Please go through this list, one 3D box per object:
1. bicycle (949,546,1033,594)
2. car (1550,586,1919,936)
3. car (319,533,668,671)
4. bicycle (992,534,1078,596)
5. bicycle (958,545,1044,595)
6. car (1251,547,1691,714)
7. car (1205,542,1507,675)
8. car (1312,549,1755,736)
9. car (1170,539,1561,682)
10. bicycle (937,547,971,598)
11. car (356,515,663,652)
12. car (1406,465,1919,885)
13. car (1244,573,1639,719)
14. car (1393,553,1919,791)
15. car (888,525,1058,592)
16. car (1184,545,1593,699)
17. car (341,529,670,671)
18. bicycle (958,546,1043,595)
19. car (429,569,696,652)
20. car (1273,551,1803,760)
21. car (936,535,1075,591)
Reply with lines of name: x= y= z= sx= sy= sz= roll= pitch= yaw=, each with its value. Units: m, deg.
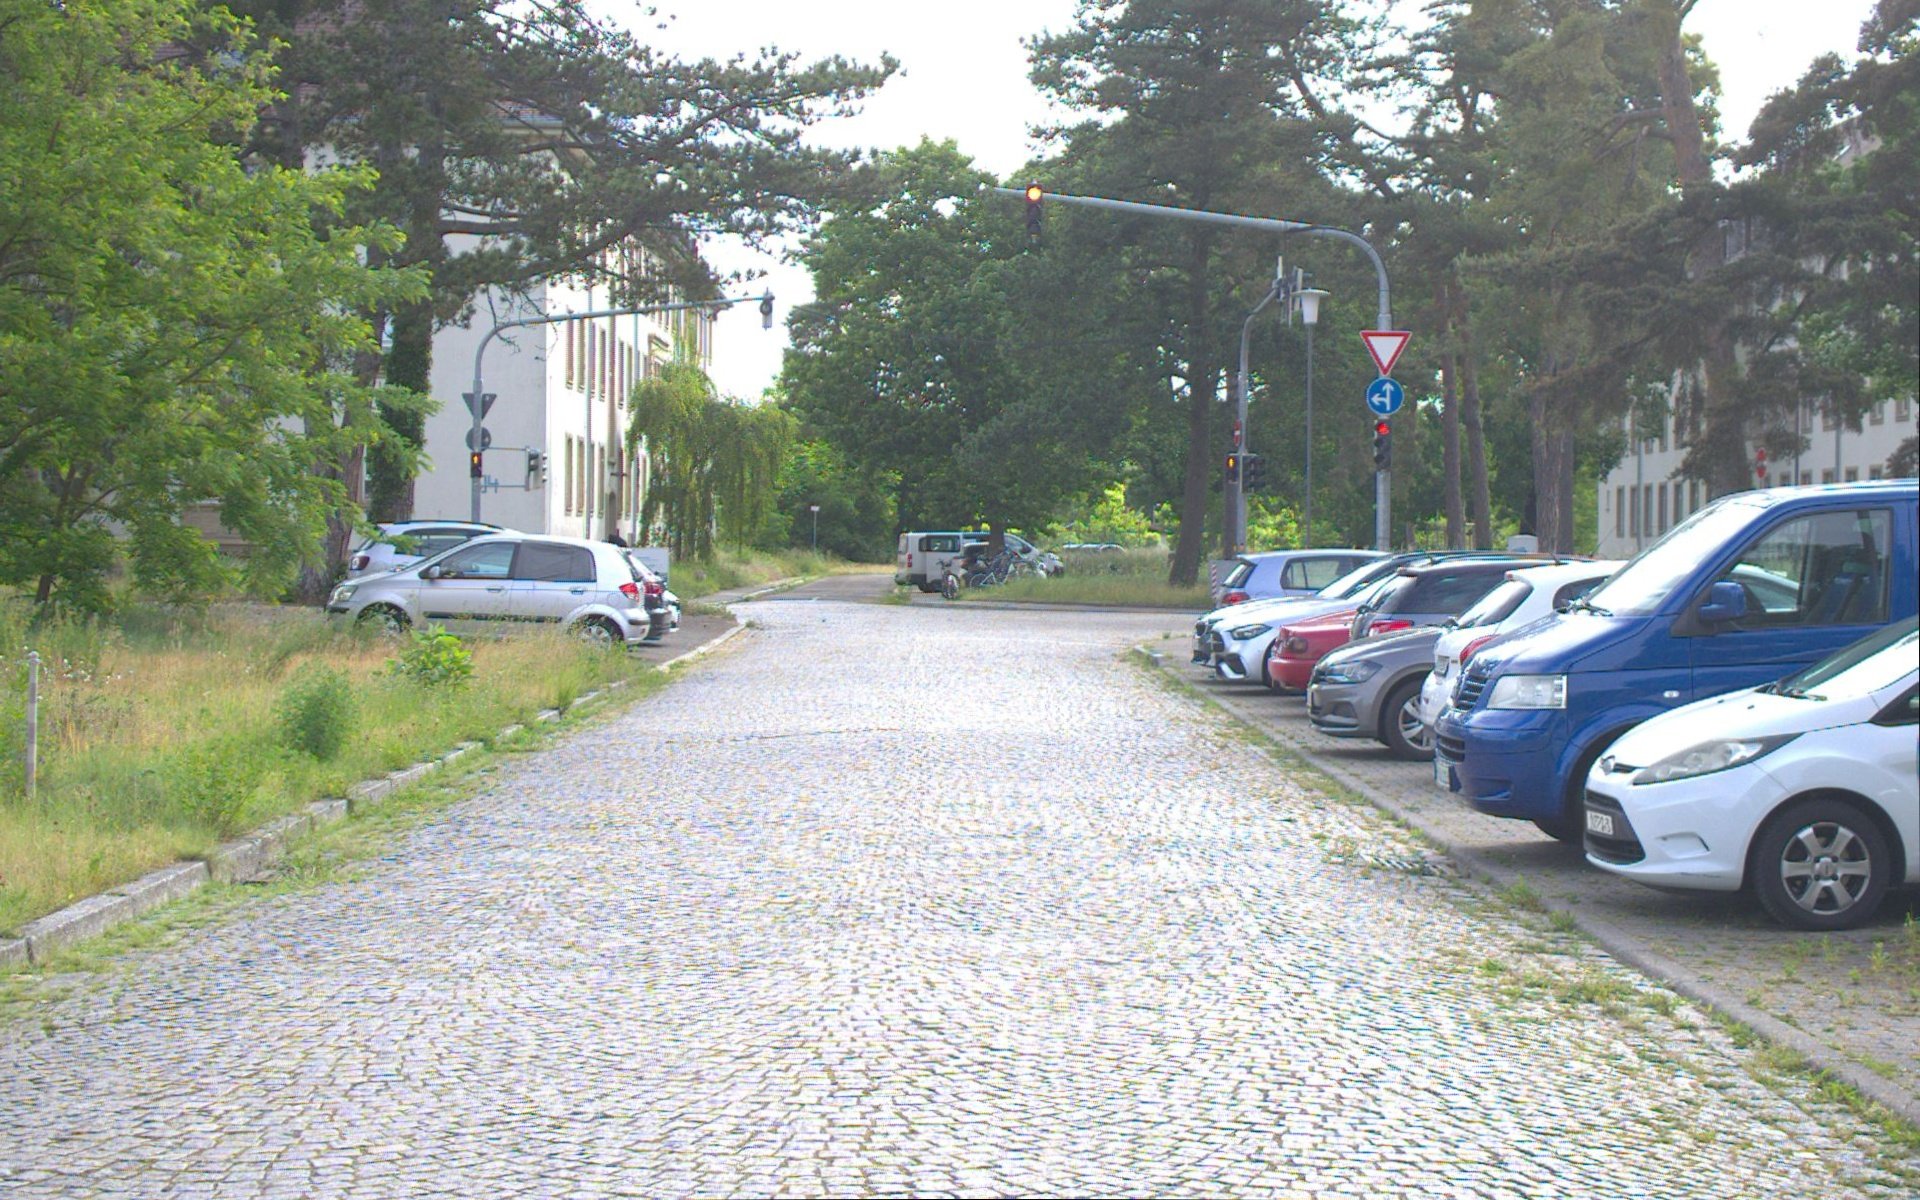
bicycle: x=0.828 y=-0.805 z=92.350 sx=2.160 sy=1.264 sz=0.812 roll=1 pitch=1 yaw=-6
car: x=4.652 y=0.658 z=15.282 sx=3.722 sy=1.419 sz=1.655 roll=-1 pitch=1 yaw=-3
car: x=-5.496 y=0.007 z=40.764 sx=3.986 sy=1.546 sz=2.001 roll=1 pitch=1 yaw=-6
bicycle: x=2.003 y=-0.936 z=91.845 sx=2.160 sy=1.610 sz=0.812 roll=1 pitch=1 yaw=-6
bicycle: x=1.083 y=-0.785 z=90.549 sx=2.160 sy=1.264 sz=0.812 roll=1 pitch=1 yaw=-6
car: x=5.009 y=0.286 z=33.958 sx=3.986 sy=1.538 sz=1.664 roll=1 pitch=1 yaw=-6
car: x=4.770 y=0.089 z=41.575 sx=3.388 sy=1.538 sz=1.391 roll=1 pitch=1 yaw=-6
car: x=4.803 y=0.346 z=28.996 sx=3.291 sy=1.499 sz=1.665 roll=0 pitch=1 yaw=-11
car: x=4.560 y=0.109 z=39.004 sx=4.122 sy=1.538 sz=1.664 roll=1 pitch=1 yaw=-6
bicycle: x=-0.146 y=-0.704 z=86.791 sx=0.810 sy=1.264 sz=1.973 roll=1 pitch=1 yaw=1
car: x=-6.045 y=-0.229 z=46.293 sx=3.986 sy=1.744 sz=1.927 roll=1 pitch=1 yaw=-7
car: x=4.840 y=0.364 z=17.747 sx=4.782 sy=2.033 sz=1.738 roll=1 pitch=1 yaw=-2
car: x=4.401 y=0.410 z=31.712 sx=3.291 sy=1.263 sz=1.664 roll=1 pitch=1 yaw=-6
car: x=4.701 y=0.459 z=23.152 sx=3.292 sy=1.499 sz=1.664 roll=1 pitch=1 yaw=-2
car: x=0.388 y=-1.321 z=108.369 sx=5.049 sy=2.007 sz=2.001 roll=1 pitch=1 yaw=-10
car: x=4.477 y=0.216 z=36.259 sx=3.986 sy=1.538 sz=1.664 roll=1 pitch=1 yaw=-6
car: x=-5.684 y=-0.015 z=43.252 sx=3.986 sy=1.700 sz=2.001 roll=1 pitch=1 yaw=-6
bicycle: x=1.074 y=-0.789 z=91.137 sx=2.160 sy=1.264 sz=0.812 roll=1 pitch=1 yaw=-6
car: x=-5.605 y=0.140 z=48.564 sx=3.670 sy=1.090 sz=1.647 roll=1 pitch=1 yaw=-6
car: x=4.351 y=0.402 z=26.118 sx=3.597 sy=1.501 sz=1.665 roll=0 pitch=1 yaw=-11
car: x=1.375 y=-1.134 z=105.094 sx=3.986 sy=1.638 sz=2.000 roll=1 pitch=1 yaw=-6
